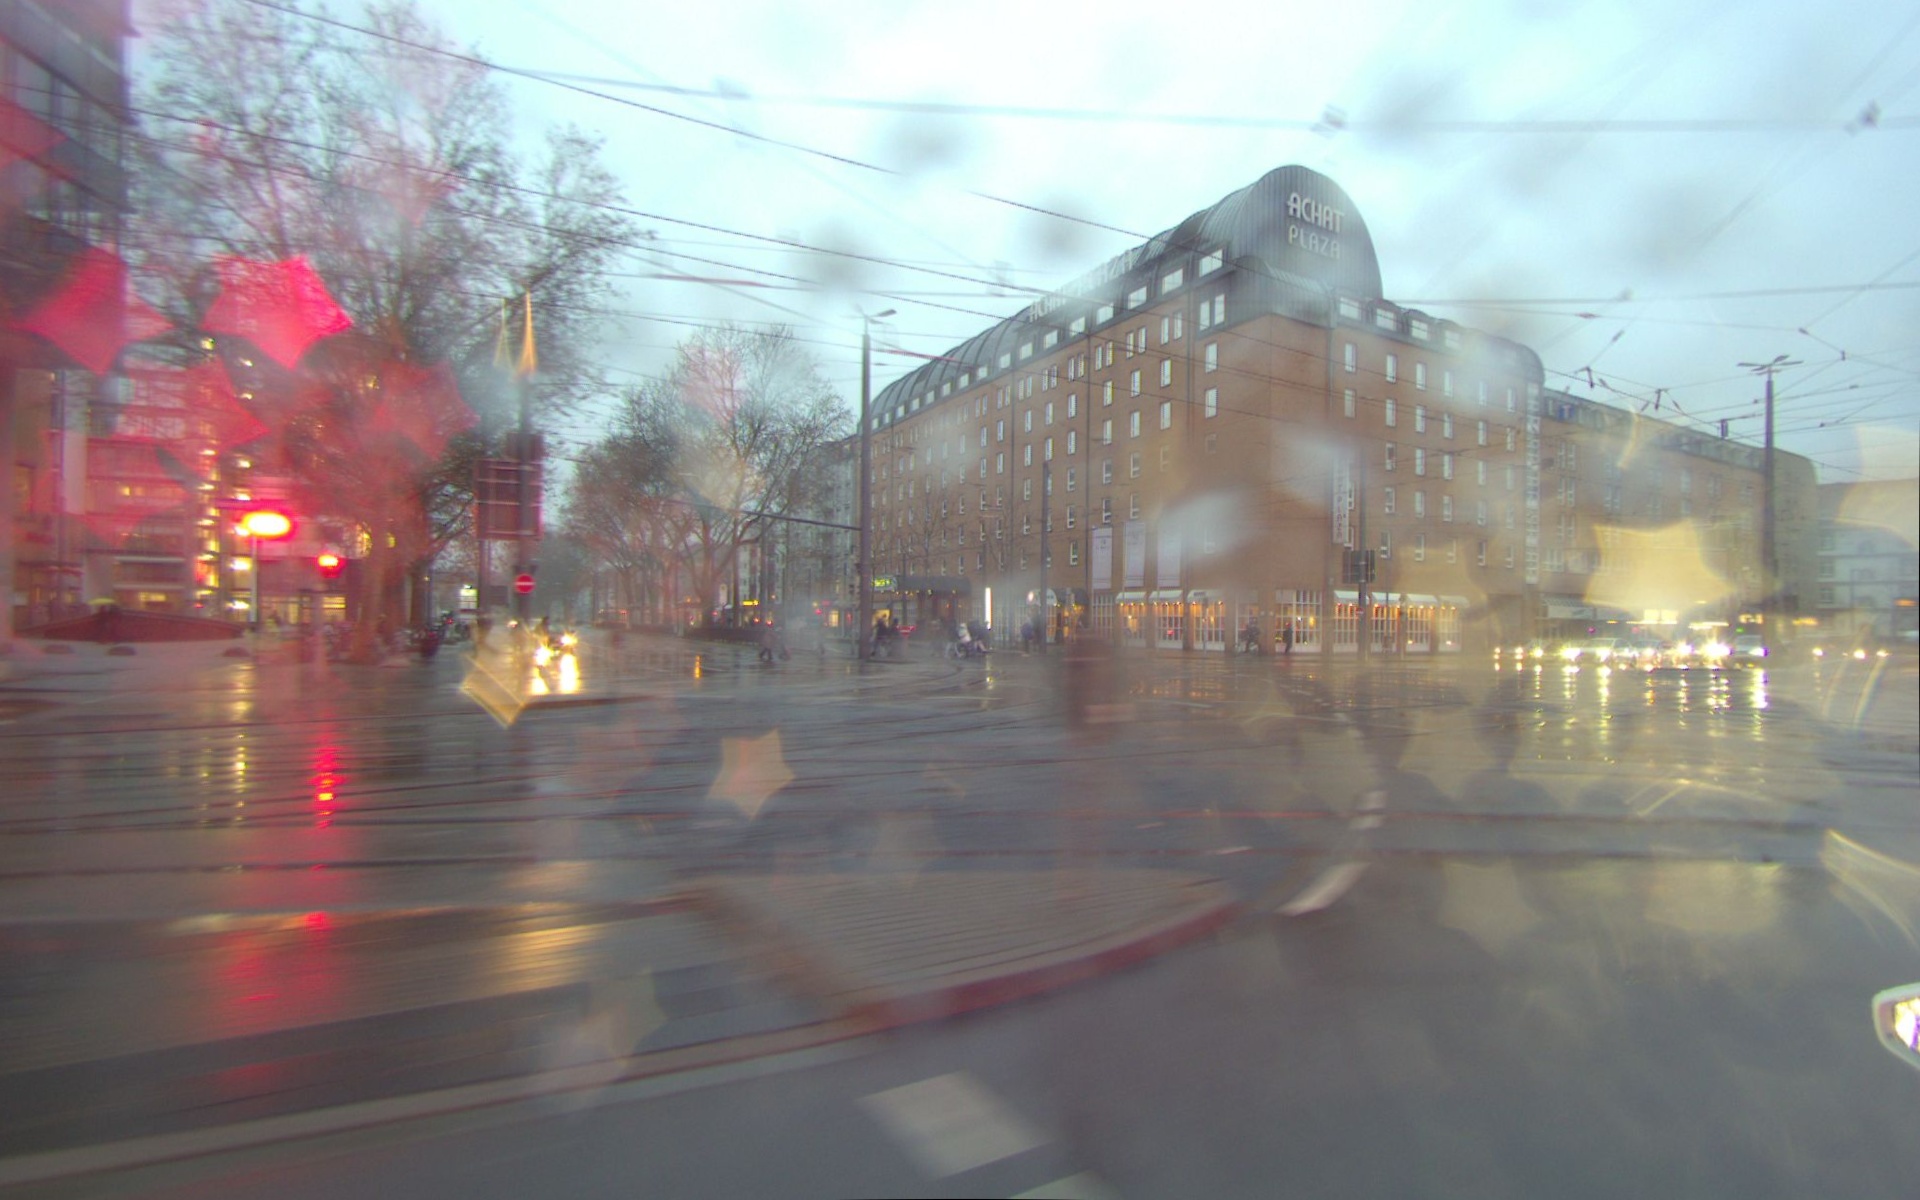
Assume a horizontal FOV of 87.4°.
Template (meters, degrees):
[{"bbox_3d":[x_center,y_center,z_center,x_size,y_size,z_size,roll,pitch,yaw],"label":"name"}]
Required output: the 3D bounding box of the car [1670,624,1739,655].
[{"bbox_3d":[42.813,2.270,57.725,4.658,1.732,1.817,2,-1,-35],"label":"car"}]

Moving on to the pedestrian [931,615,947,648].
[{"bbox_3d":[-1.292,1.925,61.867,0.710,2.040,0.742,1,-1,-27],"label":"pedestrian"}]

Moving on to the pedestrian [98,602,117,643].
[{"bbox_3d":[-37.614,0.999,44.305,0.440,1.774,0.650,1,-1,-24],"label":"pedestrian"}]

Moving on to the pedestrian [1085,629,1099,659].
[{"bbox_3d":[7.038,2.350,53.564,0.565,1.558,0.518,1,-1,-15],"label":"pedestrian"}]

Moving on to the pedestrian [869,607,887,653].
[{"bbox_3d":[-3.707,1.360,45.526,0.745,2.040,0.706,1,-1,-8],"label":"pedestrian"}]

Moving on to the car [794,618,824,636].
[{"bbox_3d":[-15.652,2.832,103.937,2.080,1.806,3.681,1,-2,-26],"label":"car"}]

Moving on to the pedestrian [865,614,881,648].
[{"bbox_3d":[-5.333,1.892,61.361,0.710,2.040,0.742,1,-1,-27],"label":"pedestrian"}]

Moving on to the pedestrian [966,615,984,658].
[{"bbox_3d":[0.710,1.733,47.991,0.745,2.040,0.706,1,-1,-8],"label":"pedestrian"}]

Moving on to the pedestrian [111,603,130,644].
[{"bbox_3d":[-37.061,1.049,44.367,0.440,1.774,0.650,1,-1,-24],"label":"pedestrian"}]

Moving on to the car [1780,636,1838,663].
[{"bbox_3d":[48.289,2.806,57.114,3.511,1.372,1.670,2,0,-35],"label":"car"}]

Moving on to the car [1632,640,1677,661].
[{"bbox_3d":[53.511,3.882,77.346,4.188,1.511,1.601,2,-2,-36],"label":"car"}]

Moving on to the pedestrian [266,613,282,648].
[{"bbox_3d":[-33.941,1.508,49.727,0.554,1.706,0.593,1,-1,-28],"label":"pedestrian"}]

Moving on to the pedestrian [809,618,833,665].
[{"bbox_3d":[-6.143,1.847,44.478,0.763,2.040,0.707,0,-1,24],"label":"pedestrian"}]

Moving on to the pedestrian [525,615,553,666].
[{"bbox_3d":[-16.987,1.627,40.532,0.697,2.040,0.755,0,-2,42],"label":"pedestrian"}]

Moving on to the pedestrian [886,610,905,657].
[{"bbox_3d":[-2.880,1.491,44.806,0.745,2.040,0.706,1,-1,-8],"label":"pedestrian"}]

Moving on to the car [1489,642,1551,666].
[{"bbox_3d":[33.933,3.258,60.794,4.185,1.339,1.602,2,-1,-34],"label":"car"}]

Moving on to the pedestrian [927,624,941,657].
[{"bbox_3d":[-1.264,1.942,48.511,0.565,1.558,0.518,1,-1,-15],"label":"pedestrian"}]

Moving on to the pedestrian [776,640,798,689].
[{"bbox_3d":[-7.293,2.709,42.298,0.748,2.040,0.704,1,-1,-22],"label":"pedestrian"}]

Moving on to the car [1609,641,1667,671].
[{"bbox_3d":[40.684,3.337,60.245,3.817,1.732,1.672,2,-1,-35],"label":"car"}]

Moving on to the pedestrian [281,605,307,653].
[{"bbox_3d":[-23.998,1.042,36.195,0.552,1.706,0.596,0,-1,33],"label":"pedestrian"}]

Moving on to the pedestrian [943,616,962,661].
[{"bbox_3d":[-0.361,1.751,45.840,0.745,2.040,0.799,1,-1,-8],"label":"pedestrian"}]

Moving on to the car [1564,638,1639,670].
[{"bbox_3d":[32.112,2.685,50.229,4.157,1.515,1.658,2,-1,-34],"label":"car"}]

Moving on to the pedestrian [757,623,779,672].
[{"bbox_3d":[-8.043,1.979,41.994,0.748,2.040,0.704,1,-1,-22],"label":"pedestrian"}]

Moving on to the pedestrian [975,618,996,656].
[{"bbox_3d":[1.341,1.909,52.092,0.776,1.925,0.834,1,-1,-26],"label":"pedestrian"}]

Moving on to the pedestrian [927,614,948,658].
[{"bbox_3d":[-1.076,1.711,47.436,0.699,2.040,0.753,2,-1,-30],"label":"pedestrian"}]

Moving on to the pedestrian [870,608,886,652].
[{"bbox_3d":[-3.790,1.389,46.208,0.656,1.984,0.528,1,-1,-11],"label":"pedestrian"}]

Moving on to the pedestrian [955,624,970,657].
[{"bbox_3d":[0.119,1.888,47.014,0.565,1.558,0.518,1,-1,-15],"label":"pedestrian"}]

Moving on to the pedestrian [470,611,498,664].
[{"bbox_3d":[-18.329,1.434,38.686,0.697,2.040,0.755,0,-2,42],"label":"pedestrian"}]

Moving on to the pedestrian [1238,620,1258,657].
[{"bbox_3d":[16.208,2.183,56.495,0.920,2.040,0.757,0,-1,33],"label":"pedestrian"}]

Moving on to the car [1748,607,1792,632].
[{"bbox_3d":[71.182,1.732,88.270,3.960,2.040,1.981,2,0,-35],"label":"car"}]

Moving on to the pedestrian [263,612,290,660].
[{"bbox_3d":[-24.687,1.302,36.279,0.552,1.706,0.596,0,-1,33],"label":"pedestrian"}]

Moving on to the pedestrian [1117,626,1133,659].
[{"bbox_3d":[7.832,1.998,47.739,0.565,1.558,0.518,1,-1,-15],"label":"pedestrian"}]

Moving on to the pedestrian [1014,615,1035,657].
[{"bbox_3d":[3.157,1.770,49.381,0.748,2.040,0.703,1,-1,-24],"label":"pedestrian"}]

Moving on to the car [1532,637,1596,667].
[{"bbox_3d":[32.427,2.762,53.894,3.558,1.515,1.572,2,-1,-34],"label":"car"}]

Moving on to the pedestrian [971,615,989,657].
[{"bbox_3d":[0.996,1.795,49.979,0.745,2.040,0.706,1,-1,-8],"label":"pedestrian"}]
